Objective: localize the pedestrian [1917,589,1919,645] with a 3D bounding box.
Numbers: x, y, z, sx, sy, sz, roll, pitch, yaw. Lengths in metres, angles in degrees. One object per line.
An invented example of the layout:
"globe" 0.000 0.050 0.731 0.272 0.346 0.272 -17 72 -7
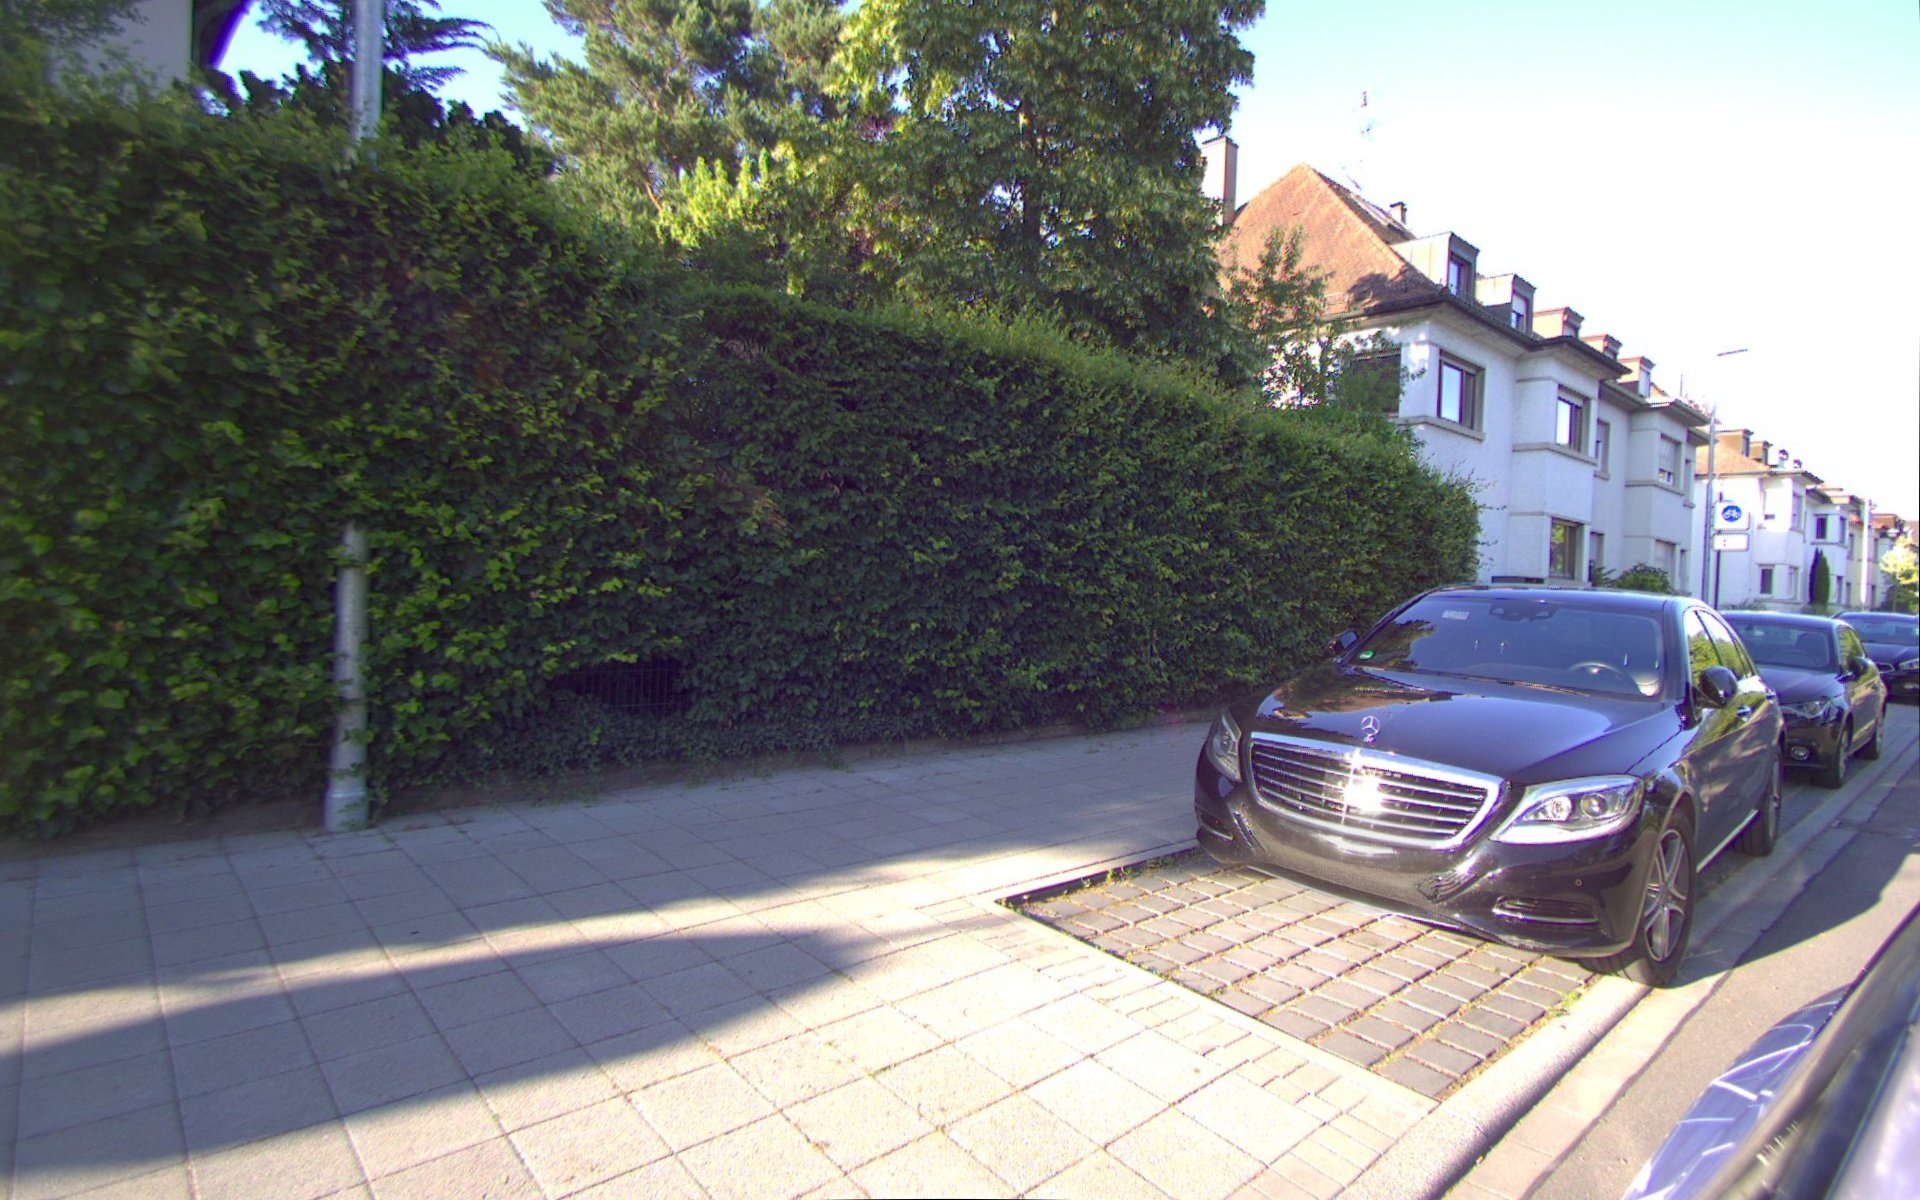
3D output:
"pedestrian" 35.311 0.643 36.411 1.081 2.038 0.856 2 1 33

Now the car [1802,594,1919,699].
"car" 16.038 0.750 17.437 4.183 1.492 1.750 1 5 -43

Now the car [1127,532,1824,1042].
"car" 3.133 0.552 5.490 4.792 1.561 1.861 0 3 -44

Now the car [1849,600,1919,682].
"car" 19.888 0.833 20.993 3.916 1.489 1.721 1 4 -43

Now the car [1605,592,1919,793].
"car" 7.777 0.722 9.684 3.868 1.445 1.644 1 3 -42

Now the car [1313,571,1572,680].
"car" 8.314 0.361 17.624 3.637 1.514 1.752 6 4 45
